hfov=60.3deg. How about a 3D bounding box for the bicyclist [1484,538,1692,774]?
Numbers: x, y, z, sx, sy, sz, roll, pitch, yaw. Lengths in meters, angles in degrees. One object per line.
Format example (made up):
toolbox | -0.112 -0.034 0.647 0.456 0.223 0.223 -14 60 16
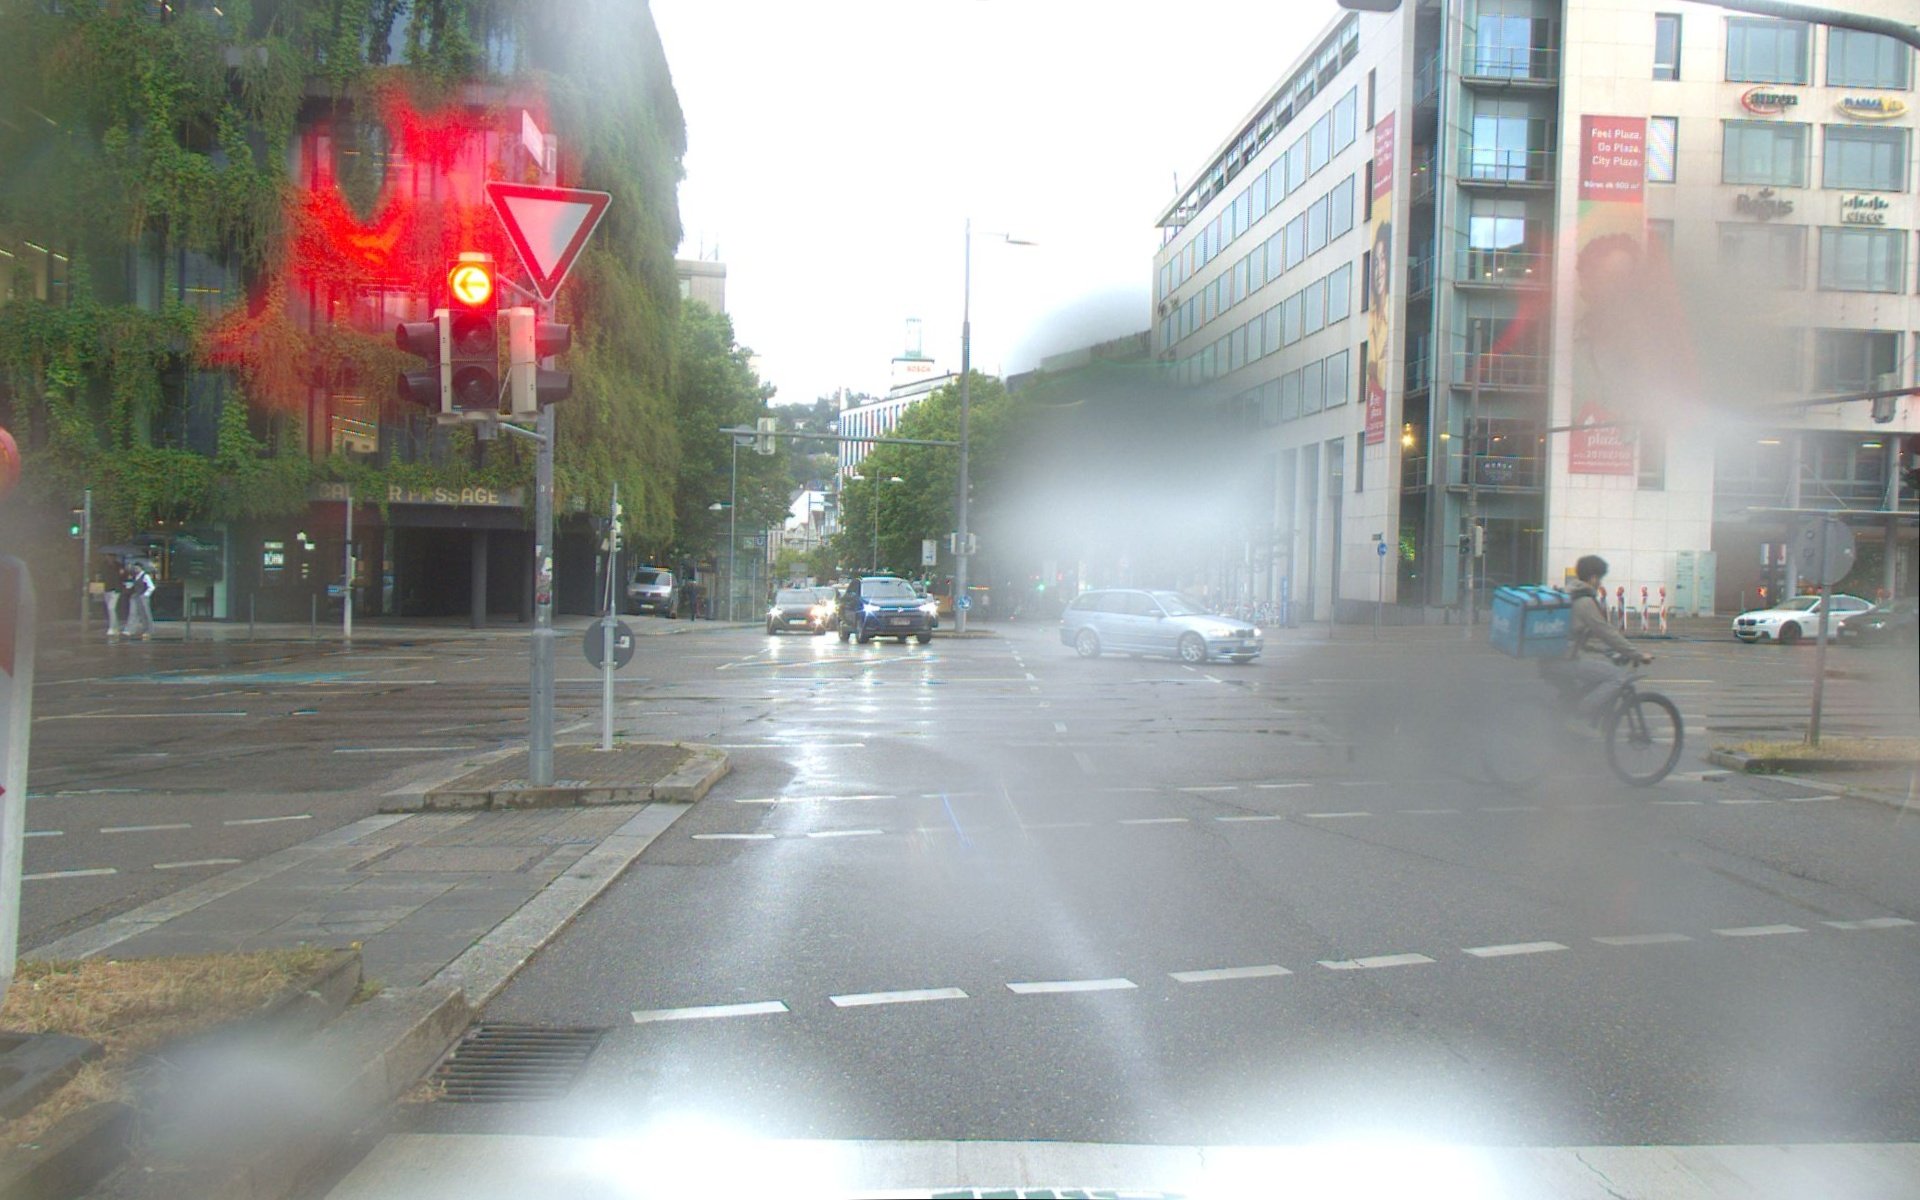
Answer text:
bicyclist | 4.852 0.409 12.801 1.277 1.733 0.842 0 0 -23

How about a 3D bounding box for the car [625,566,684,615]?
car | -12.531 -0.404 68.113 1.955 1.928 4.460 1 0 -5

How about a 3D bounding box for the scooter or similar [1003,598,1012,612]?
scooter or similar | 3.386 0.357 118.092 0.545 1.024 1.824 0 0 0

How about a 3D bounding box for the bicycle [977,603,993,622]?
bicycle | 1.490 0.735 98.528 0.775 1.136 2.254 1 0 -3

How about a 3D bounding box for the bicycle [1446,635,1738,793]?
bicycle | 4.904 0.844 12.831 2.115 1.122 0.842 0 0 -22

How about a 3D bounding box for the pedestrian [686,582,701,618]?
pedestrian | -11.584 0.002 71.962 0.595 1.550 0.587 1 0 -5

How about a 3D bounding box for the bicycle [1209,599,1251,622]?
bicycle | 11.602 0.443 71.068 1.757 0.950 0.475 1 0 2

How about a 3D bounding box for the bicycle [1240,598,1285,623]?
bicycle | 11.892 0.419 65.033 1.767 0.950 0.473 1 0 41

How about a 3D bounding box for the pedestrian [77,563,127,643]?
pedestrian | -19.483 0.059 37.581 0.923 1.788 1.163 0 0 -24

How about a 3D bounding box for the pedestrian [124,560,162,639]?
pedestrian | -18.726 -0.008 37.923 0.731 1.788 0.969 0 0 -24

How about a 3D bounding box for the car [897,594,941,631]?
car | -1.984 0.569 78.669 1.954 1.556 4.553 0 2 -4

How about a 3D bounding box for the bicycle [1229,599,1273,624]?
bicycle | 11.743 0.456 66.741 1.767 0.950 0.473 1 0 41

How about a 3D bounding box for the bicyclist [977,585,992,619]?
bicyclist | 1.480 0.143 98.574 0.775 2.009 1.113 1 0 -4

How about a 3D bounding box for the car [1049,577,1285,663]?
car | 4.049 0.334 32.827 4.389 1.512 1.986 2 2 44

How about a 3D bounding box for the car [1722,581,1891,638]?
car | 25.371 0.283 49.605 4.378 1.626 1.992 0 0 -16

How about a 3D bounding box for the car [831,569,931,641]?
car | -2.066 0.082 42.060 1.929 1.684 4.353 0 2 -11

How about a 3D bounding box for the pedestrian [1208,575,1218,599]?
pedestrian | 12.673 -0.667 82.895 0.348 1.194 0.412 0 0 -24

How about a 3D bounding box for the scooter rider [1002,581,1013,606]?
scooter rider | 3.405 -0.457 118.087 0.746 1.805 0.796 0 0 0

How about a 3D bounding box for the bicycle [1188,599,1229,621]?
bicycle | 10.958 0.435 72.906 1.757 0.950 0.475 1 0 2

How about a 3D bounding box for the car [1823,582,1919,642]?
car | 26.777 0.336 46.329 4.373 1.626 1.994 1 0 -13

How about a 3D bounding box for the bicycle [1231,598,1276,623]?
bicycle | 11.718 0.418 65.996 1.767 0.950 0.473 1 0 41

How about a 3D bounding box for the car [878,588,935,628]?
car | -2.121 0.287 64.360 1.955 1.469 4.550 1 0 -5

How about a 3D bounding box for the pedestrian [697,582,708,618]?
pedestrian | -11.220 0.016 72.060 0.428 1.550 0.547 1 0 -5

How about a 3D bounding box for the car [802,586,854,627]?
car | -5.131 0.208 64.049 1.821 1.473 4.614 0 1 -7

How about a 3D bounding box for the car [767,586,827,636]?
car | -5.215 0.324 52.542 1.821 1.473 4.614 0 1 -7
